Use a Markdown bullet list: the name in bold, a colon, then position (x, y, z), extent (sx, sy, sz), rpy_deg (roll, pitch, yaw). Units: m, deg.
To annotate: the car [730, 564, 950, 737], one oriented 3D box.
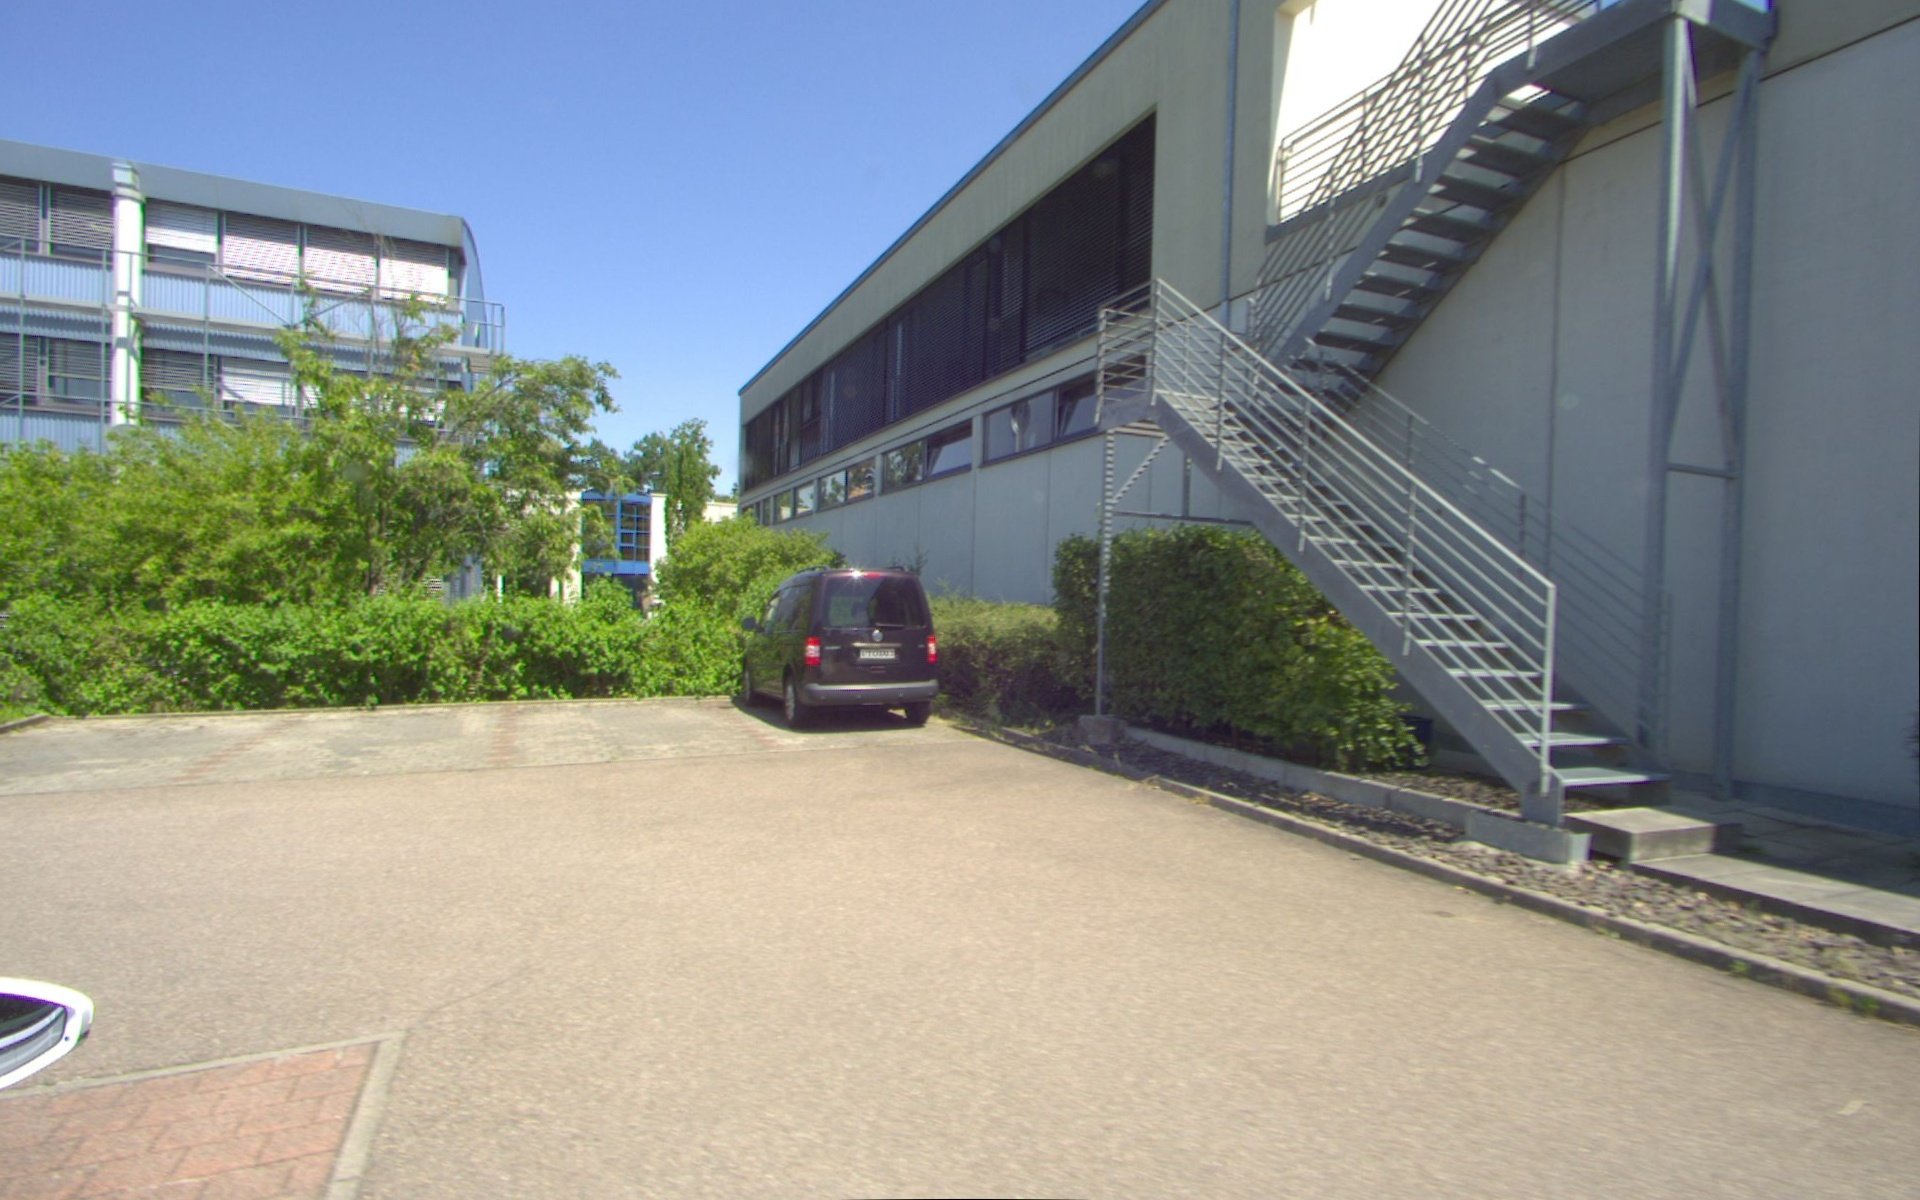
- **car**: position (-1.714, 0.542, 12.941), extent (1.721, 1.861, 3.985), rpy_deg (1, 0, -24)
